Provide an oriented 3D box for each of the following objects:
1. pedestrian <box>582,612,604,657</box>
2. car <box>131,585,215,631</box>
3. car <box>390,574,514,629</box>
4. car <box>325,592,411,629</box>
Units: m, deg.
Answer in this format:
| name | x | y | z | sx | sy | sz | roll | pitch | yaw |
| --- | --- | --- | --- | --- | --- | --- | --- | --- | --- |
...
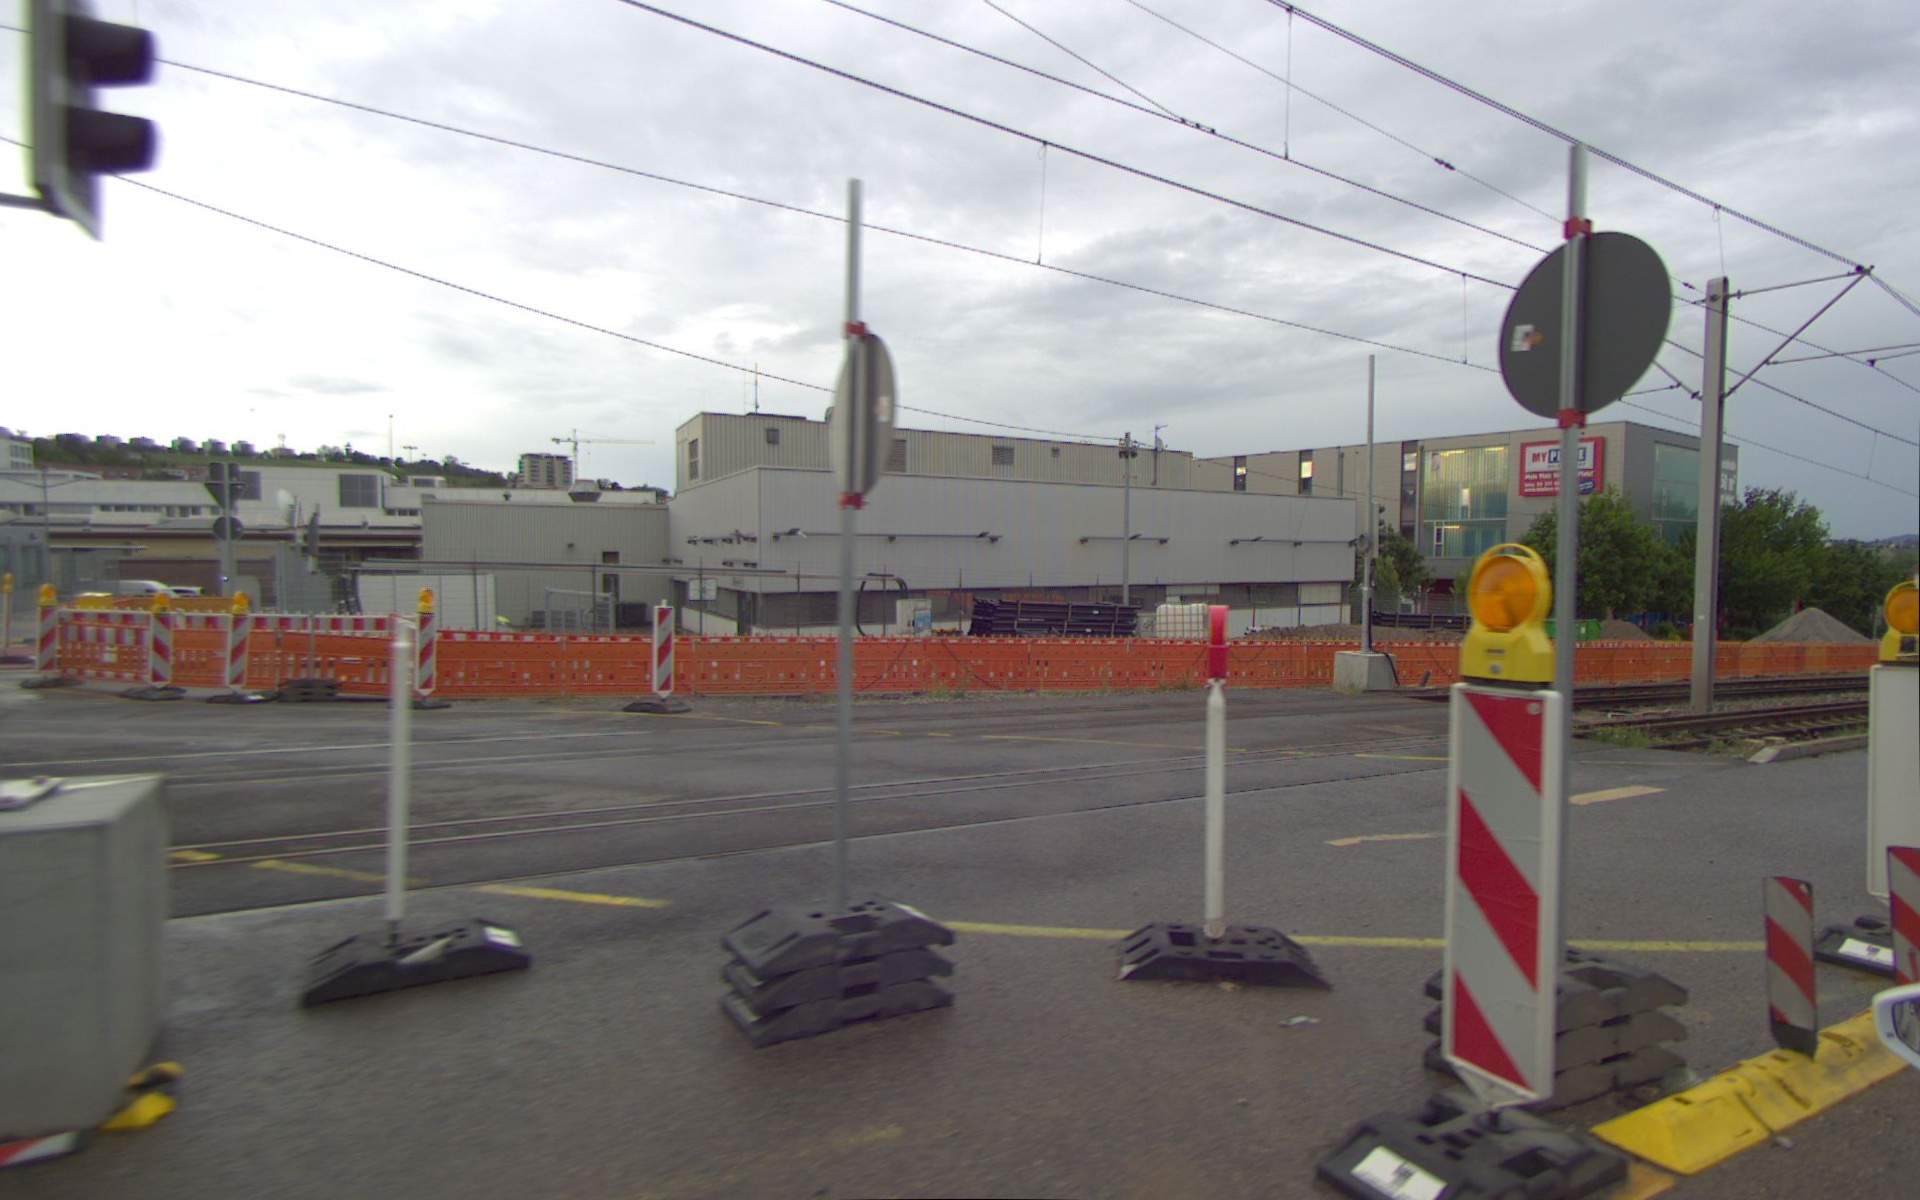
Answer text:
| name | x | y | z | sx | sy | sz | roll | pitch | yaw |
| --- | --- | --- | --- | --- | --- | --- | --- | --- | --- |
| pedestrian | -15.341 | 1.426 | 41.981 | 0.755 | 1.814 | 0.703 | 1 | 1 | -32 |
| car | -51.536 | 0.539 | 65.855 | 3.945 | 2.943 | 1.988 | 1 | 1 | -25 |
| car | -19.702 | 0.067 | 39.005 | 3.968 | 2.040 | 1.977 | 1 | 0 | -40 |
| car | -33.745 | 0.577 | 57.359 | 3.941 | 2.040 | 1.990 | 1 | 0 | -22 |
